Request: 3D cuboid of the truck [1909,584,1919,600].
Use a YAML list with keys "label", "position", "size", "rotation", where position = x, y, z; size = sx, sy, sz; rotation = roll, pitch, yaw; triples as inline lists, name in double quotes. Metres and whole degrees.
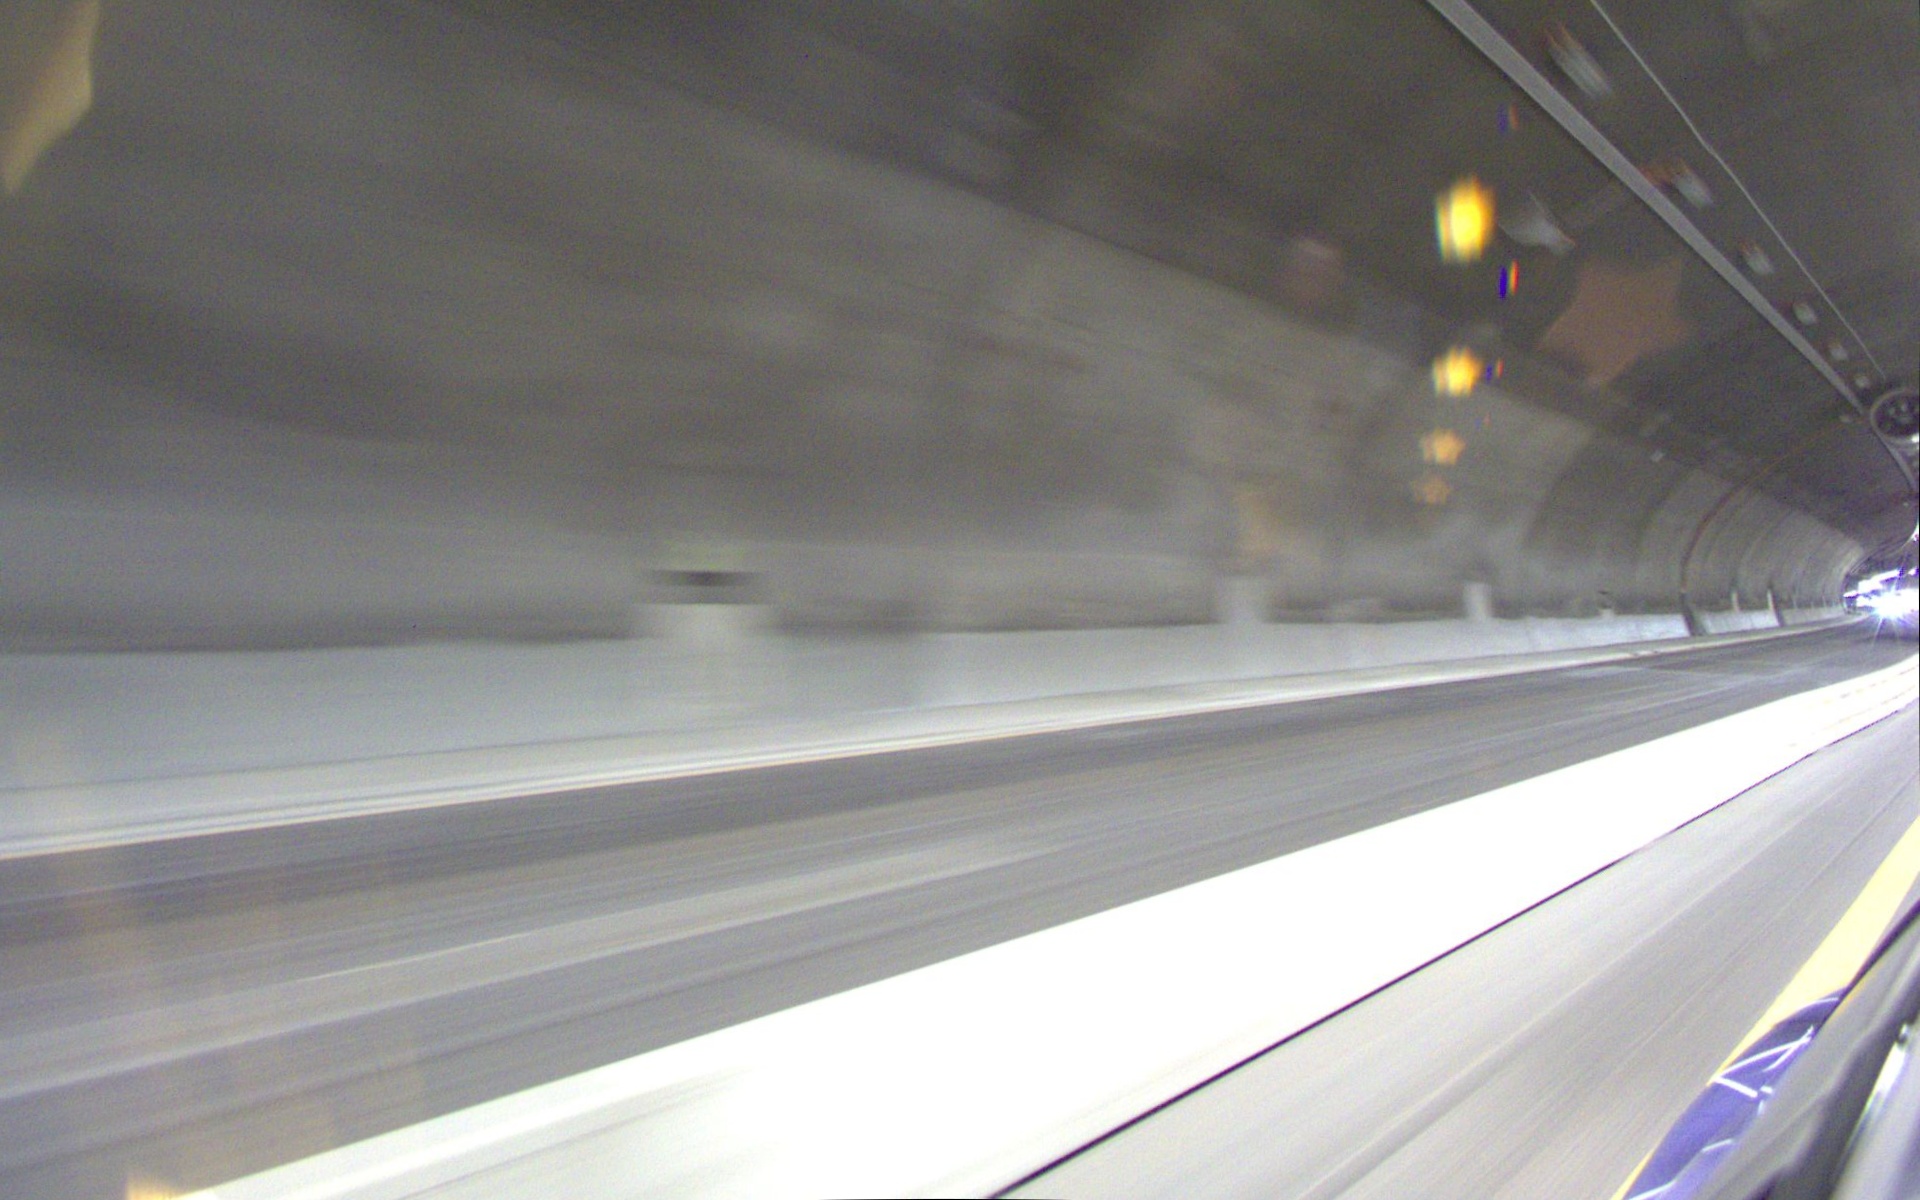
- label: "truck"
  position: [166.534, -1.379, 175.533]
  size: [2.600, 2.774, 6.304]
  rotation: [0, 0, 41]
